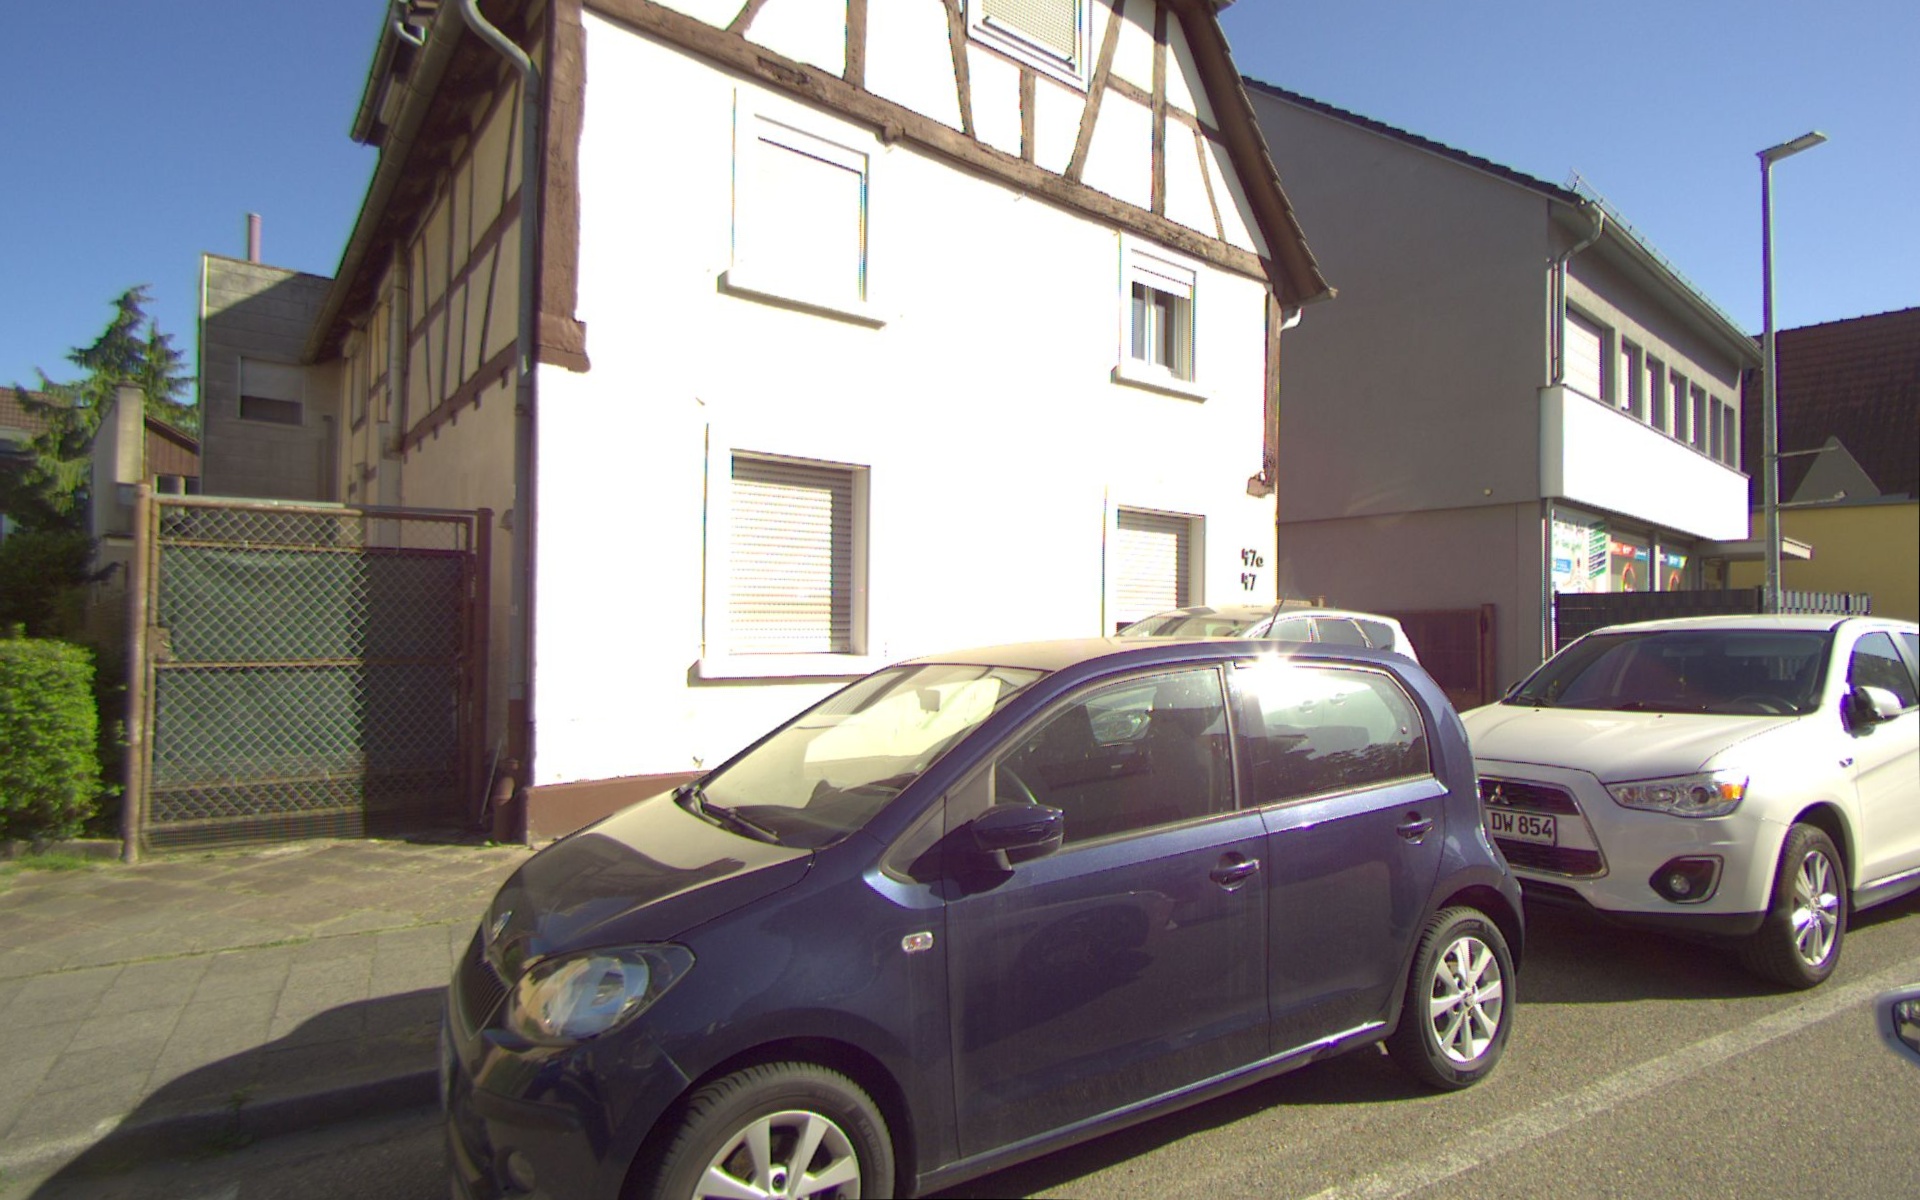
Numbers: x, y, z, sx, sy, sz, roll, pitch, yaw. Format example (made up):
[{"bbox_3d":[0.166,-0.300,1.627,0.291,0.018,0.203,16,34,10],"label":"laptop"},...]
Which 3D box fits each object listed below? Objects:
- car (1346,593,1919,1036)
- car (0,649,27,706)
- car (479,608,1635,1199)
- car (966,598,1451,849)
[{"bbox_3d":[4.202,0.860,5.527,4.064,1.639,1.715,1,-3,-31],"label":"car"},{"bbox_3d":[-26.078,1.995,25.383,3.598,1.453,1.577,2,-3,-45],"label":"car"},{"bbox_3d":[0.440,0.841,3.418,3.641,1.527,1.648,1,-3,-30],"label":"car"},{"bbox_3d":[2.167,0.853,8.302,4.071,1.608,1.632,1,-2,-35],"label":"car"}]
